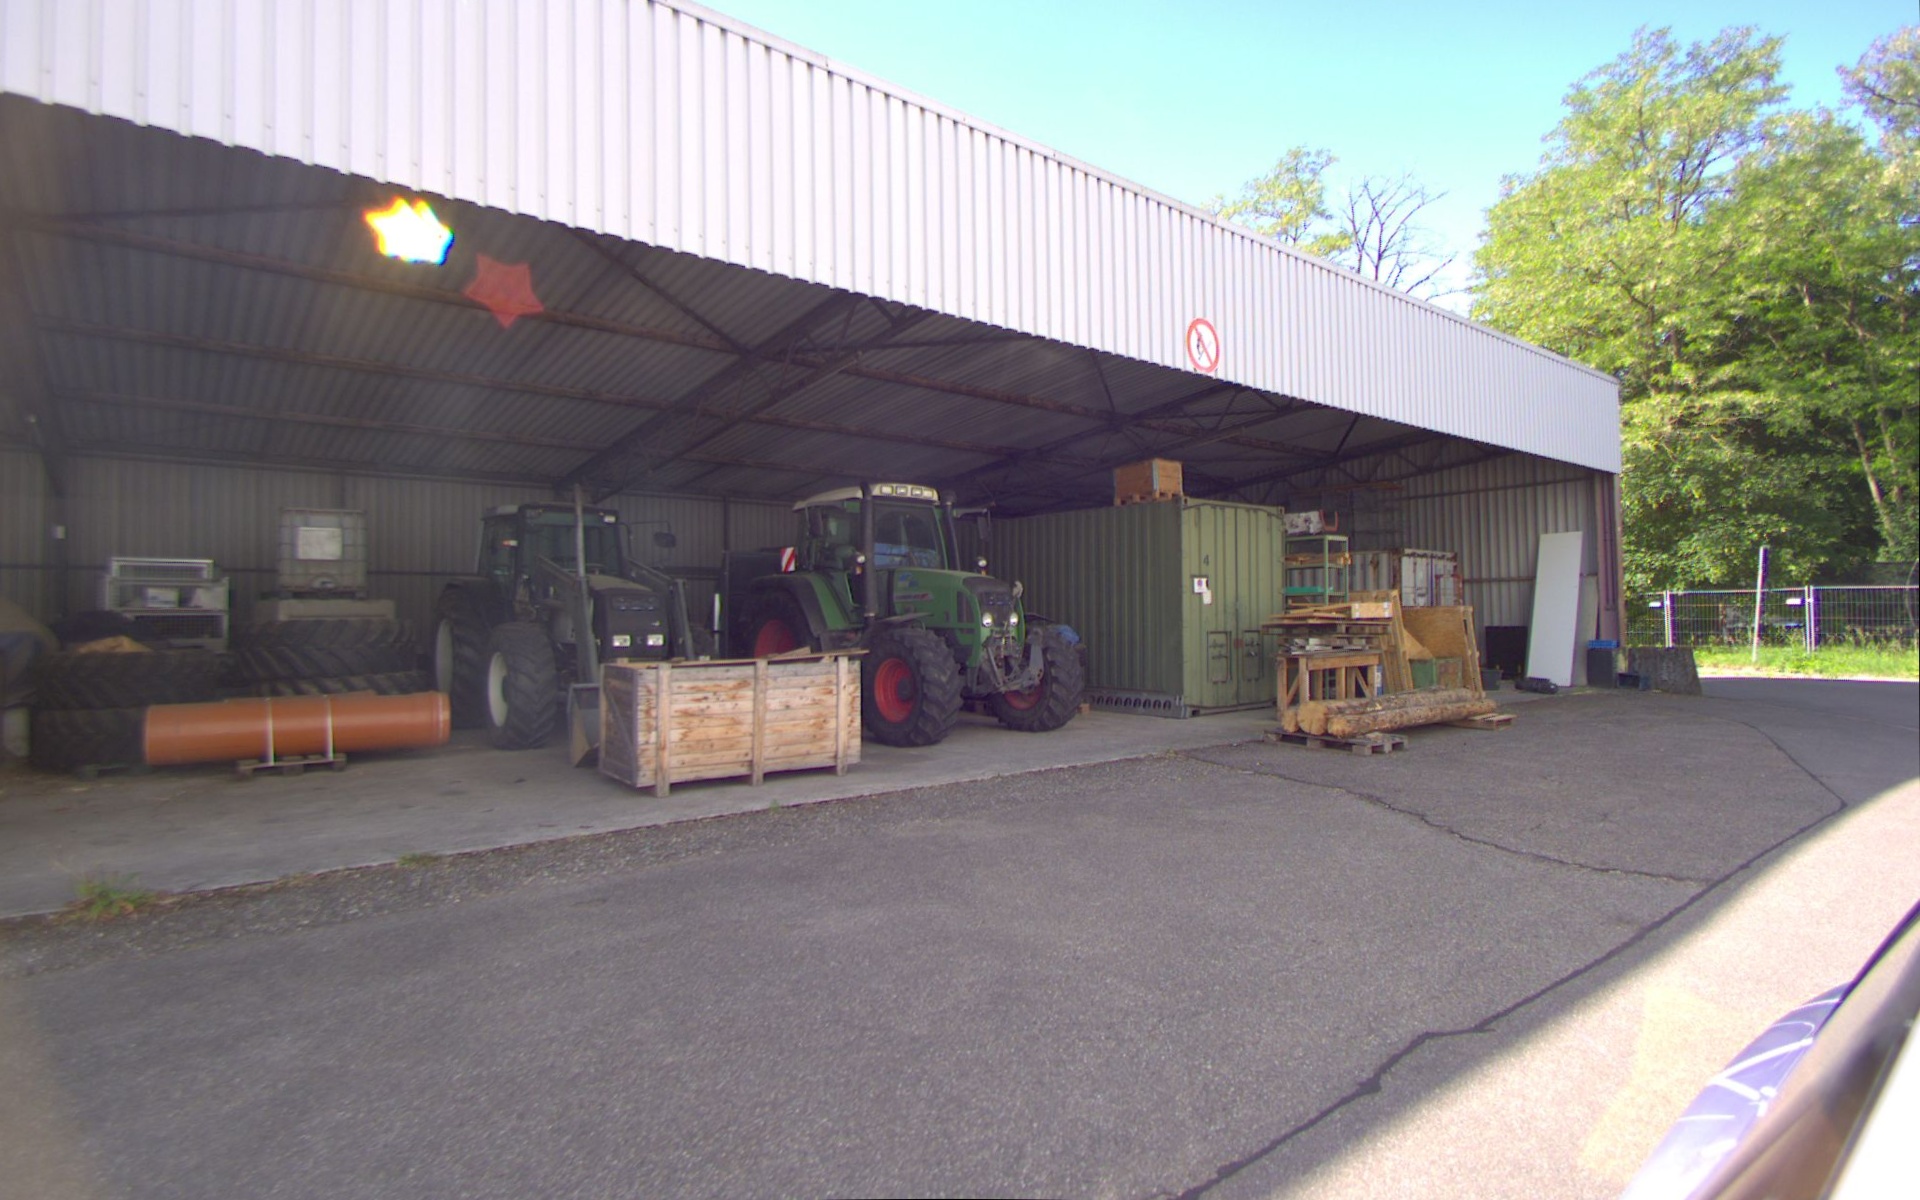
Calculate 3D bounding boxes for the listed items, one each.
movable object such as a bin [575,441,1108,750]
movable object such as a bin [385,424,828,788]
[{"bbox_3d":[-2.382,0.092,14.270,3.153,2.948,9.213,0,-2,-38],"label":"movable object such as a bin"},{"bbox_3d":[-4.377,0.132,11.564,2.961,2.948,6.199,0,-2,-38],"label":"movable object such as a bin"}]
